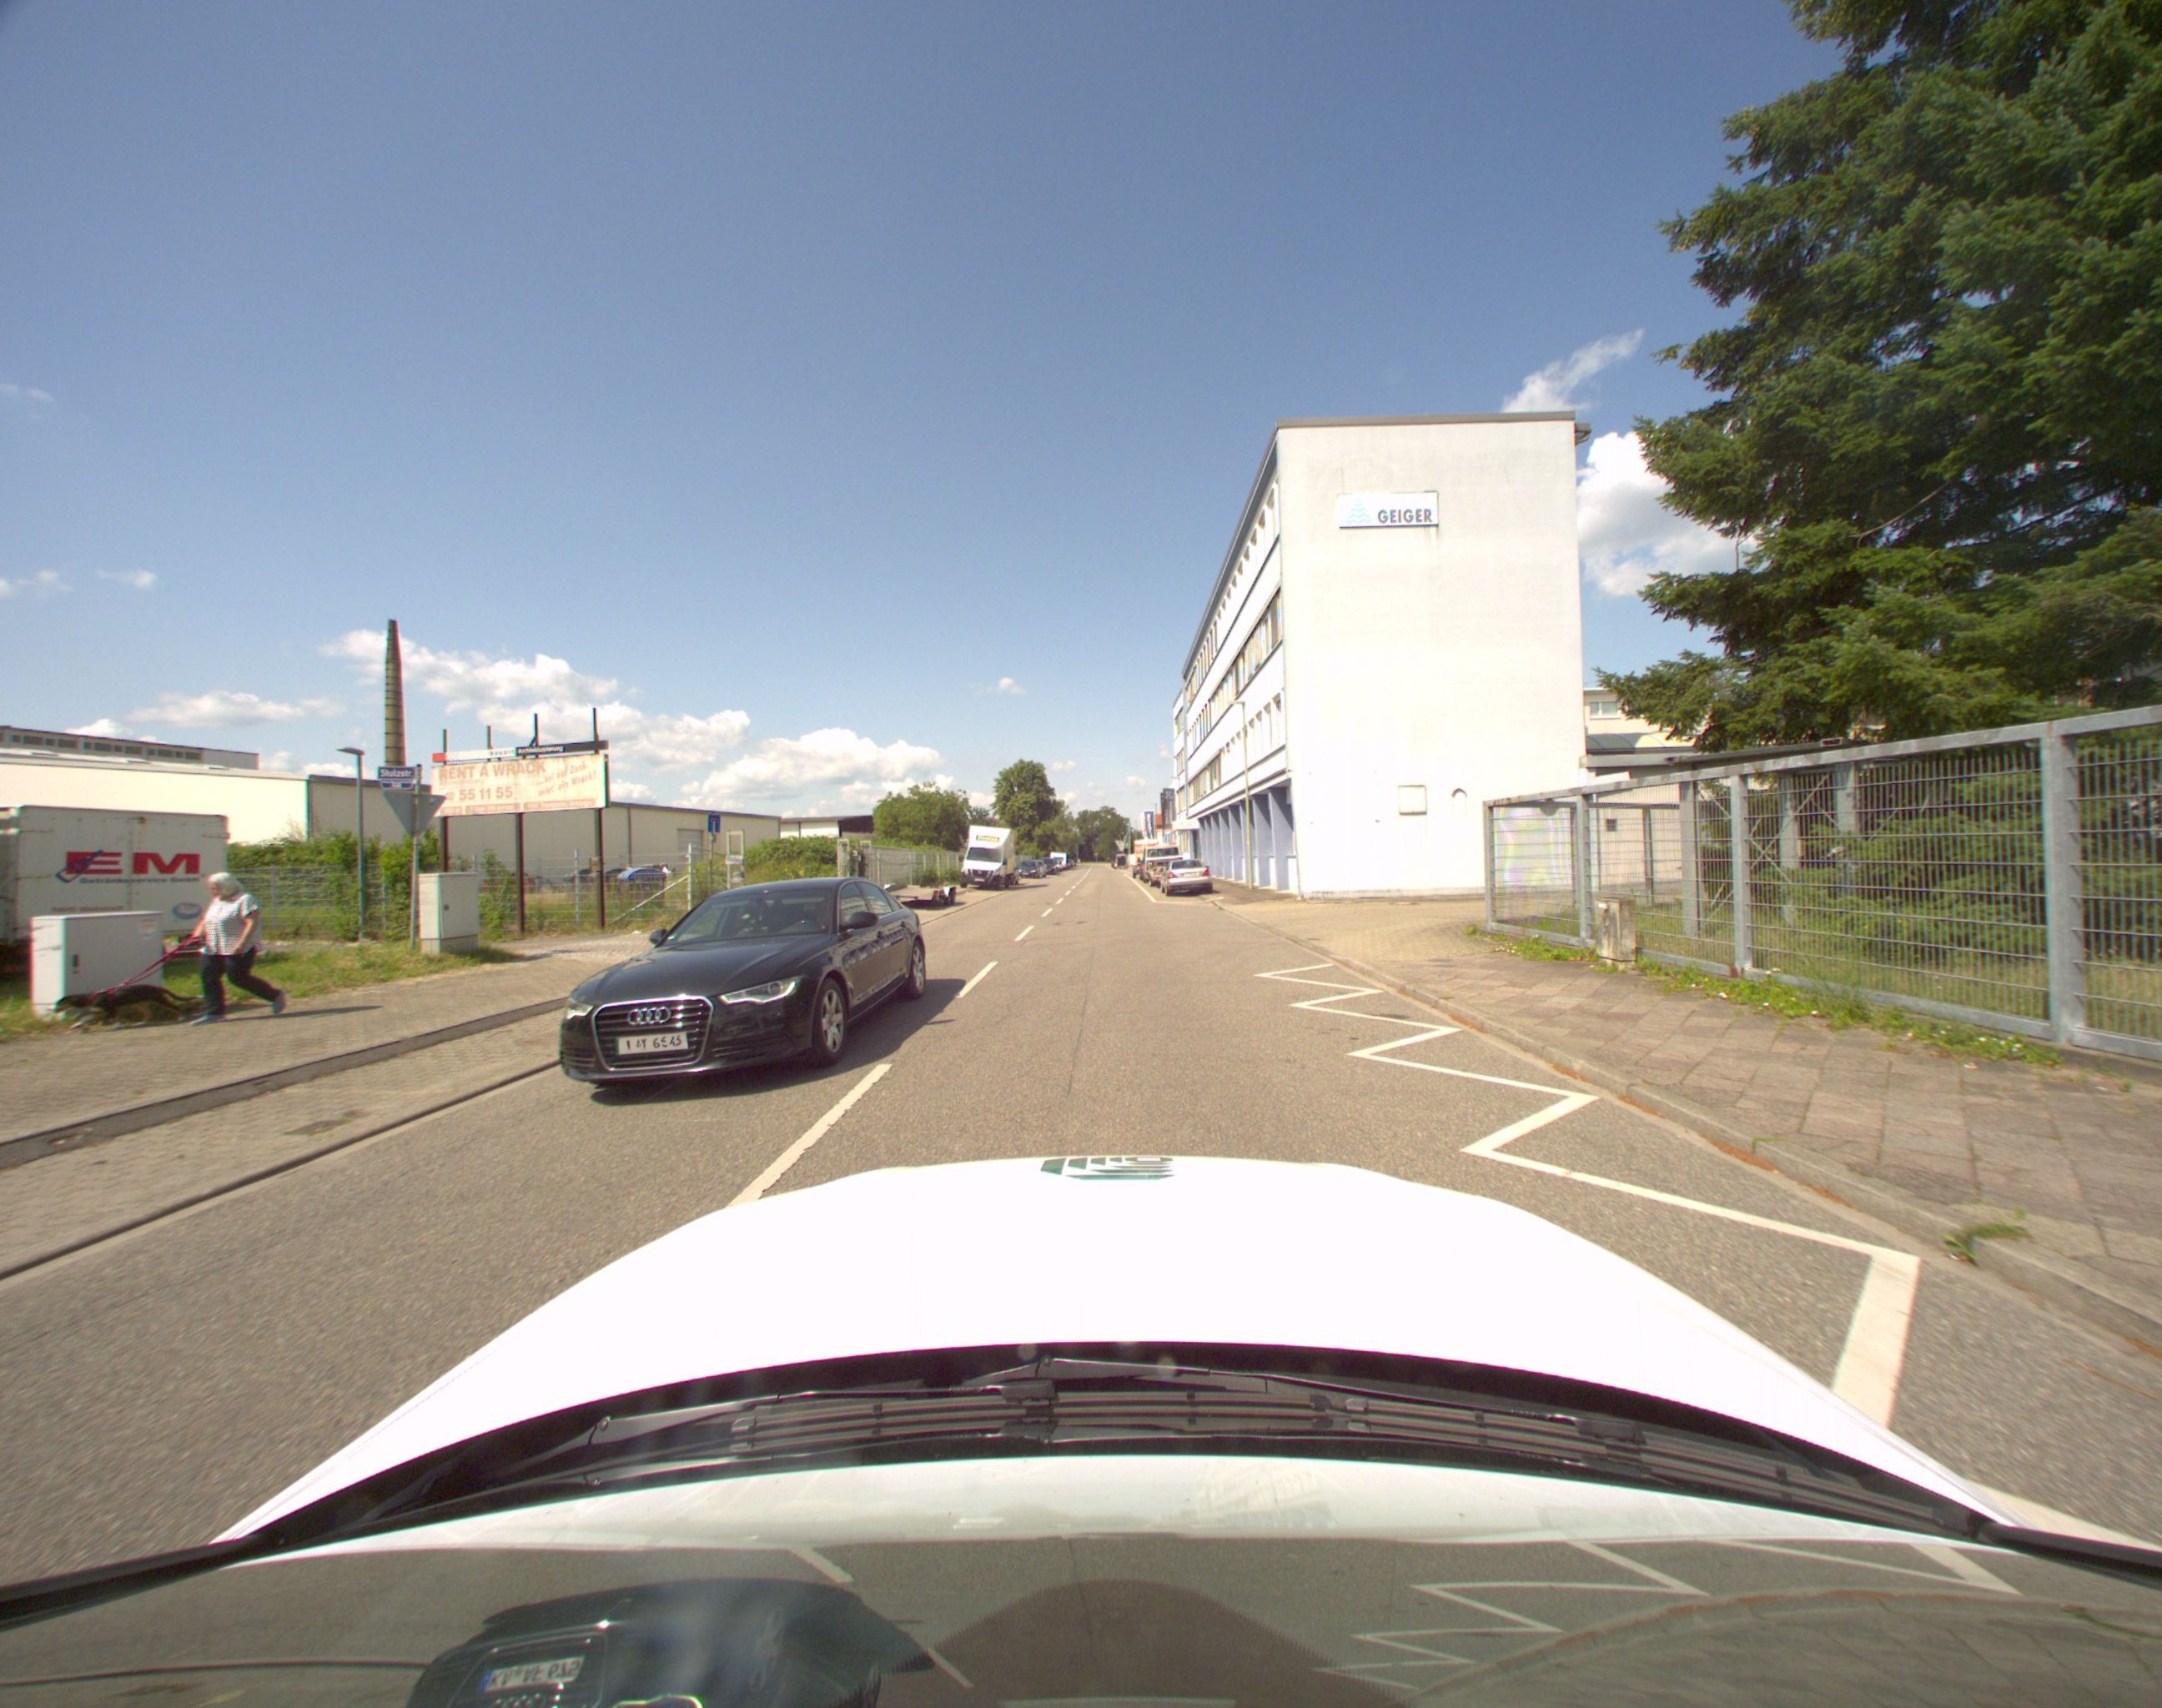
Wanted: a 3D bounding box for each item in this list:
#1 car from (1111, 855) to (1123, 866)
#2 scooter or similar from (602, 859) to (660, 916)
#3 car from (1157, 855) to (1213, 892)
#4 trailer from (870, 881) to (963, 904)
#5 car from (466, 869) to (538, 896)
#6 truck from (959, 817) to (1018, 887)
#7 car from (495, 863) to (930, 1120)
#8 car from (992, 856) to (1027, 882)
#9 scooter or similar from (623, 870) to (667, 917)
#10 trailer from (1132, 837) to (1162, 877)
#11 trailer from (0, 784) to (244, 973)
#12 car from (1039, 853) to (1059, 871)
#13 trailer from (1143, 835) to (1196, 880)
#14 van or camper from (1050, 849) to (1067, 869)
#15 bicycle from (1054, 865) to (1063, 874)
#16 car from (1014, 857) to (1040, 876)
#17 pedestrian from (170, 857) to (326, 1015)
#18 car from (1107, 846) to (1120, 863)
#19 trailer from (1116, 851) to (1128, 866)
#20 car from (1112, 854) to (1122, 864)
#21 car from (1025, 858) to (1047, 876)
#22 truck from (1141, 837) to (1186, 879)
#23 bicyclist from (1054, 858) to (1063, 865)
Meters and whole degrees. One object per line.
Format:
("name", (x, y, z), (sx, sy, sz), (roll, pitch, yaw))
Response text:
("car", (5.144, 0.948, 117.192), (1.567, 1.507, 4.133), (-1, -1, 1))
("scooter or similar", (-13.136, 0.955, 23.767), (1.177, 1.586, 1.303), (-1, -1, -43))
("car", (3.882, 0.699, 30.849), (1.641, 1.246, 4.000), (-1, 0, 1))
("trailer", (-5.538, 1.290, 28.047), (2.228, 0.552, 4.444), (1, 0, 0))
("car", (-34.992, 1.691, 49.216), (3.949, 1.534, 2.012), (-1, 0, 28))
("truck", (-4.747, -0.109, 42.900), (2.242, 3.362, 6.906), (-1, 0, 1))
("car", (-2.718, 0.885, 7.276), (1.779, 1.438, 4.309), (-5, 0, 1))
("car", (-4.447, 0.929, 50.966), (1.613, 1.430, 3.828), (5, 0, 2))
("scooter or similar", (-12.257, 1.093, 22.881), (0.887, 1.275, 0.886), (-1, -1, -43))
("trailer", (4.457, 0.234, 55.525), (1.860, 2.553, 5.077), (-1, 0, 4))
("trailer", (-18.845, 0.429, 14.271), (6.472, 2.852, 2.768), (-1, 0, 12))
("car", (-3.279, 0.780, 83.380), (1.795, 1.750, 4.713), (-1, -1, 1))
("trailer", (4.196, 0.170, 39.531), (1.966, 1.971, 5.766), (-1, 0, 1))
("van or camper", (-3.288, 0.822, 121.930), (2.256, 2.804, 6.831), (2, -1, 0))
("bicycle", (-2.021, 1.403, 73.203), (0.585, 0.741, 2.127), (-1, 0, 4))
("car", (-4.296, 0.952, 65.062), (1.562, 1.399, 3.801), (4, 0, 3))
("pedestrian", (-8.688, 0.817, 8.535), (0.657, 1.545, 0.918), (-1, 0, 2))
("car", (5.330, 0.141, 134.915), (1.931, 2.748, 6.153), (-1, -1, 0))
("trailer", (5.583, 0.599, 110.931), (1.596, 2.037, 2.741), (0, -1, 0))
("car", (6.498, 0.879, 147.577), (1.818, 1.664, 4.557), (-2, 0, 2))
("car", (-3.824, 1.115, 69.985), (1.609, 1.483, 3.710), (1, 0, 1))
("truck", (4.275, 0.198, 42.934), (1.957, 2.035, 4.735), (-1, 0, 1))
("bicyclist", (-2.030, 0.684, 73.193), (0.563, 0.631, 1.859), (0, 0, 4))
